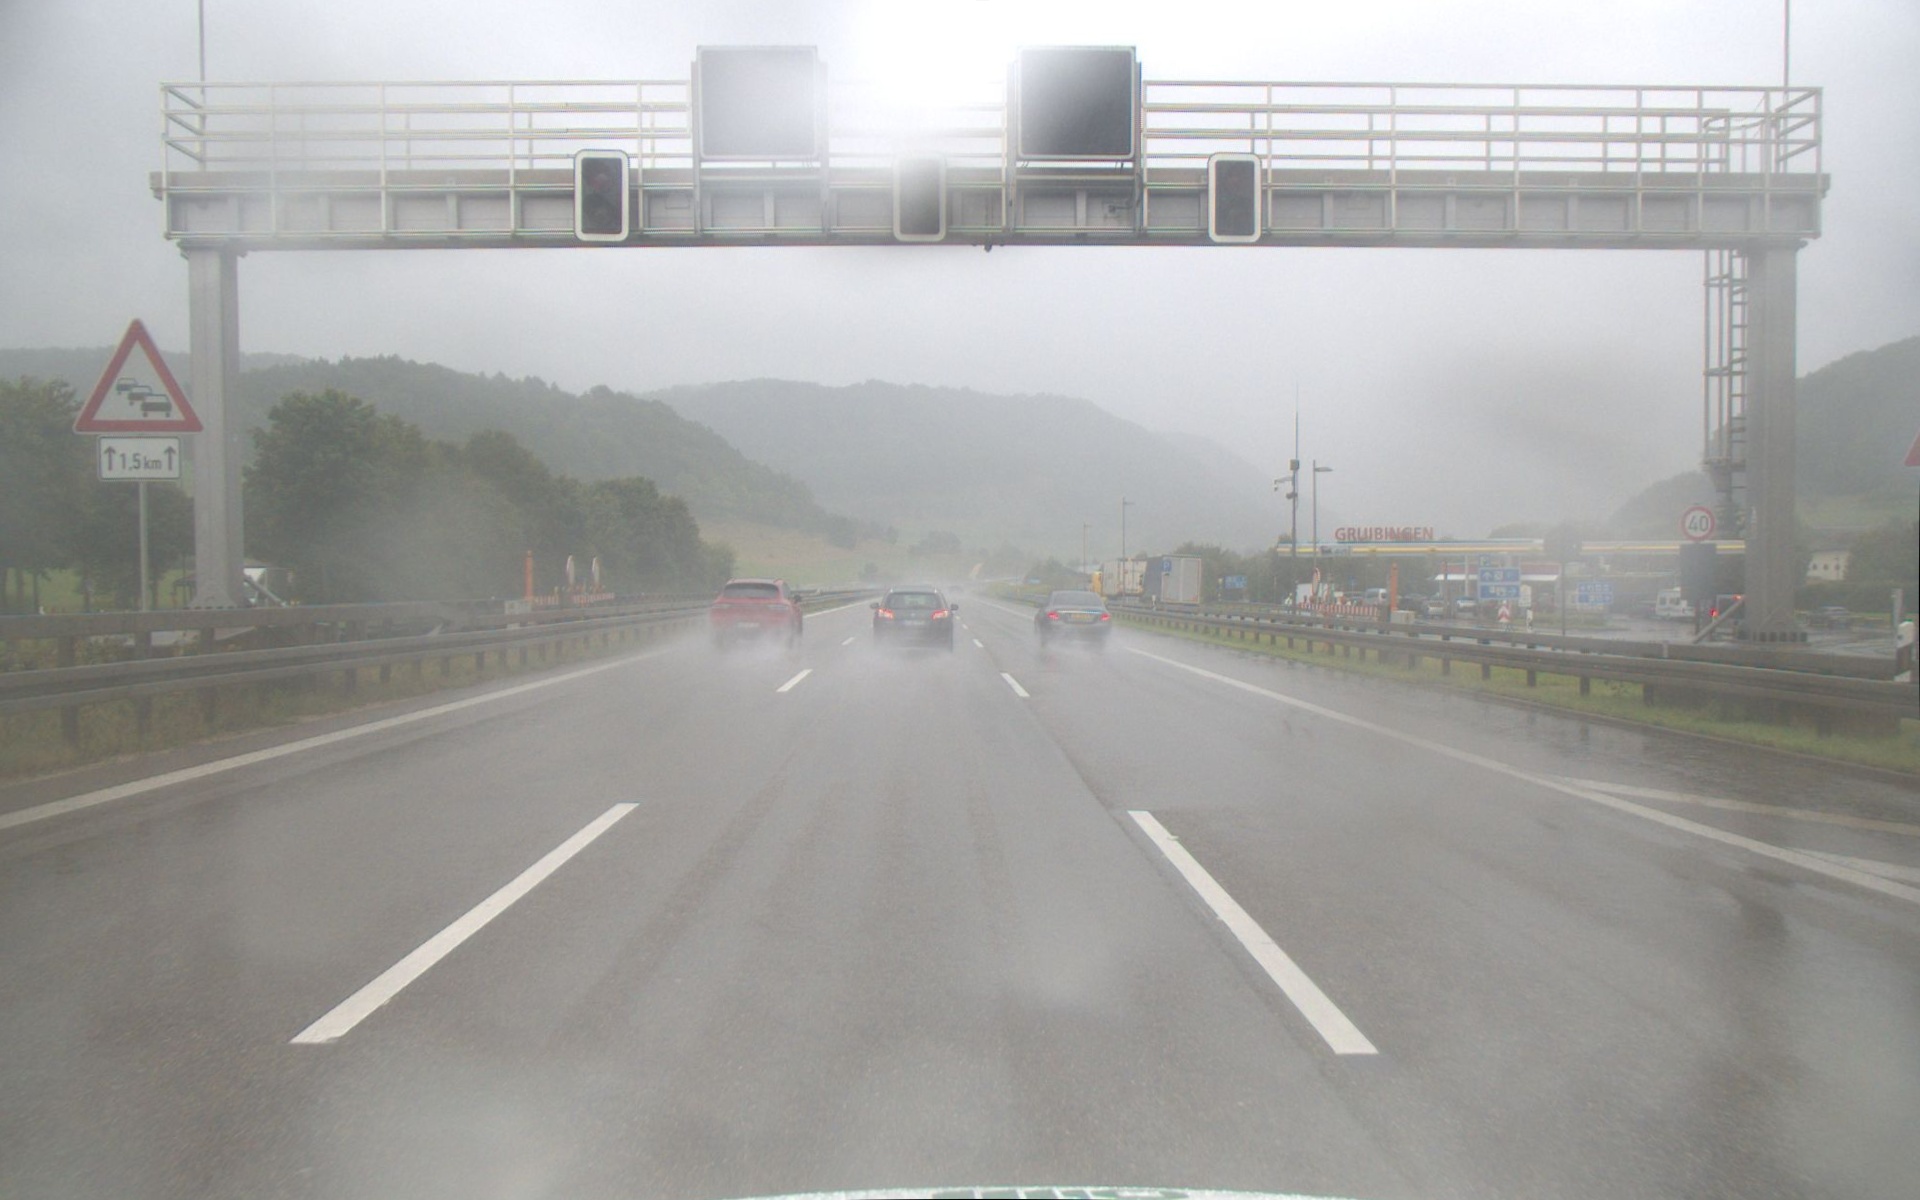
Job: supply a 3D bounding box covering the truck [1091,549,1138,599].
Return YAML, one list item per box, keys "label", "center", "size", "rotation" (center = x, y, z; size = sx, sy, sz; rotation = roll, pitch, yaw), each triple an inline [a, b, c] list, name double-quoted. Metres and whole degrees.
- label: "truck"
  center: [13.827, -2.311, 148.606]
  size: [3.455, 4.293, 7.816]
  rotation: [2, 0, 0]

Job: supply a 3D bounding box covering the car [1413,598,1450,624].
- label: "car"
  center: [40.272, 0.927, 141.430]
  size: [1.920, 2.049, 3.999]
  rotation: [2, 0, -1]

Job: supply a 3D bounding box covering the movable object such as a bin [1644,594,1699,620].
- label: "movable object such as a bin"
  center: [59.504, 0.576, 138.377]
  size: [2.122, 2.049, 5.381]
  rotation: [2, 0, -2]

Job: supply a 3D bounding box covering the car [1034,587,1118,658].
- label: "car"
  center: [3.033, 0.552, 43.973]
  size: [1.931, 1.791, 4.000]
  rotation: [0, 1, -1]

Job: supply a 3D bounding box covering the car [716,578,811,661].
- label: "car"
  center: [-4.581, 0.407, 39.016]
  size: [1.846, 1.847, 3.999]
  rotation: [1, 1, -2]

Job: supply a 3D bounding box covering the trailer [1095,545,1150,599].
- label: "trailer"
  center: [13.831, -2.295, 141.581]
  size: [3.444, 4.336, 11.920]
  rotation: [2, 0, 0]

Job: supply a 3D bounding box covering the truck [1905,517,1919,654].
- label: "truck"
  center: [34.185, -0.358, 56.641]
  size: [2.818, 4.330, 11.844]
  rotation: [2, 0, 31]

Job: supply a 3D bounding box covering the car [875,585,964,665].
- label: "car"
  center: [-0.858, 0.516, 36.708]
  size: [1.822, 1.617, 3.999]
  rotation: [2, 0, -1]

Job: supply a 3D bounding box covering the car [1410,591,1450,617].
- label: "car"
  center: [42.348, 0.340, 149.077]
  size: [2.039, 2.220, 4.891]
  rotation: [2, 0, -1]

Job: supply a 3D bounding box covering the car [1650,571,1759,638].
- label: "car"
  center: [24.440, 0.124, 54.488]
  size: [1.951, 2.049, 5.059]
  rotation: [1, 1, 9]

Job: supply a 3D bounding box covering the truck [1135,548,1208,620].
- label: "truck"
  center: [14.136, -1.104, 111.492]
  size: [3.332, 4.479, 11.048]
  rotation: [2, 1, 0]
